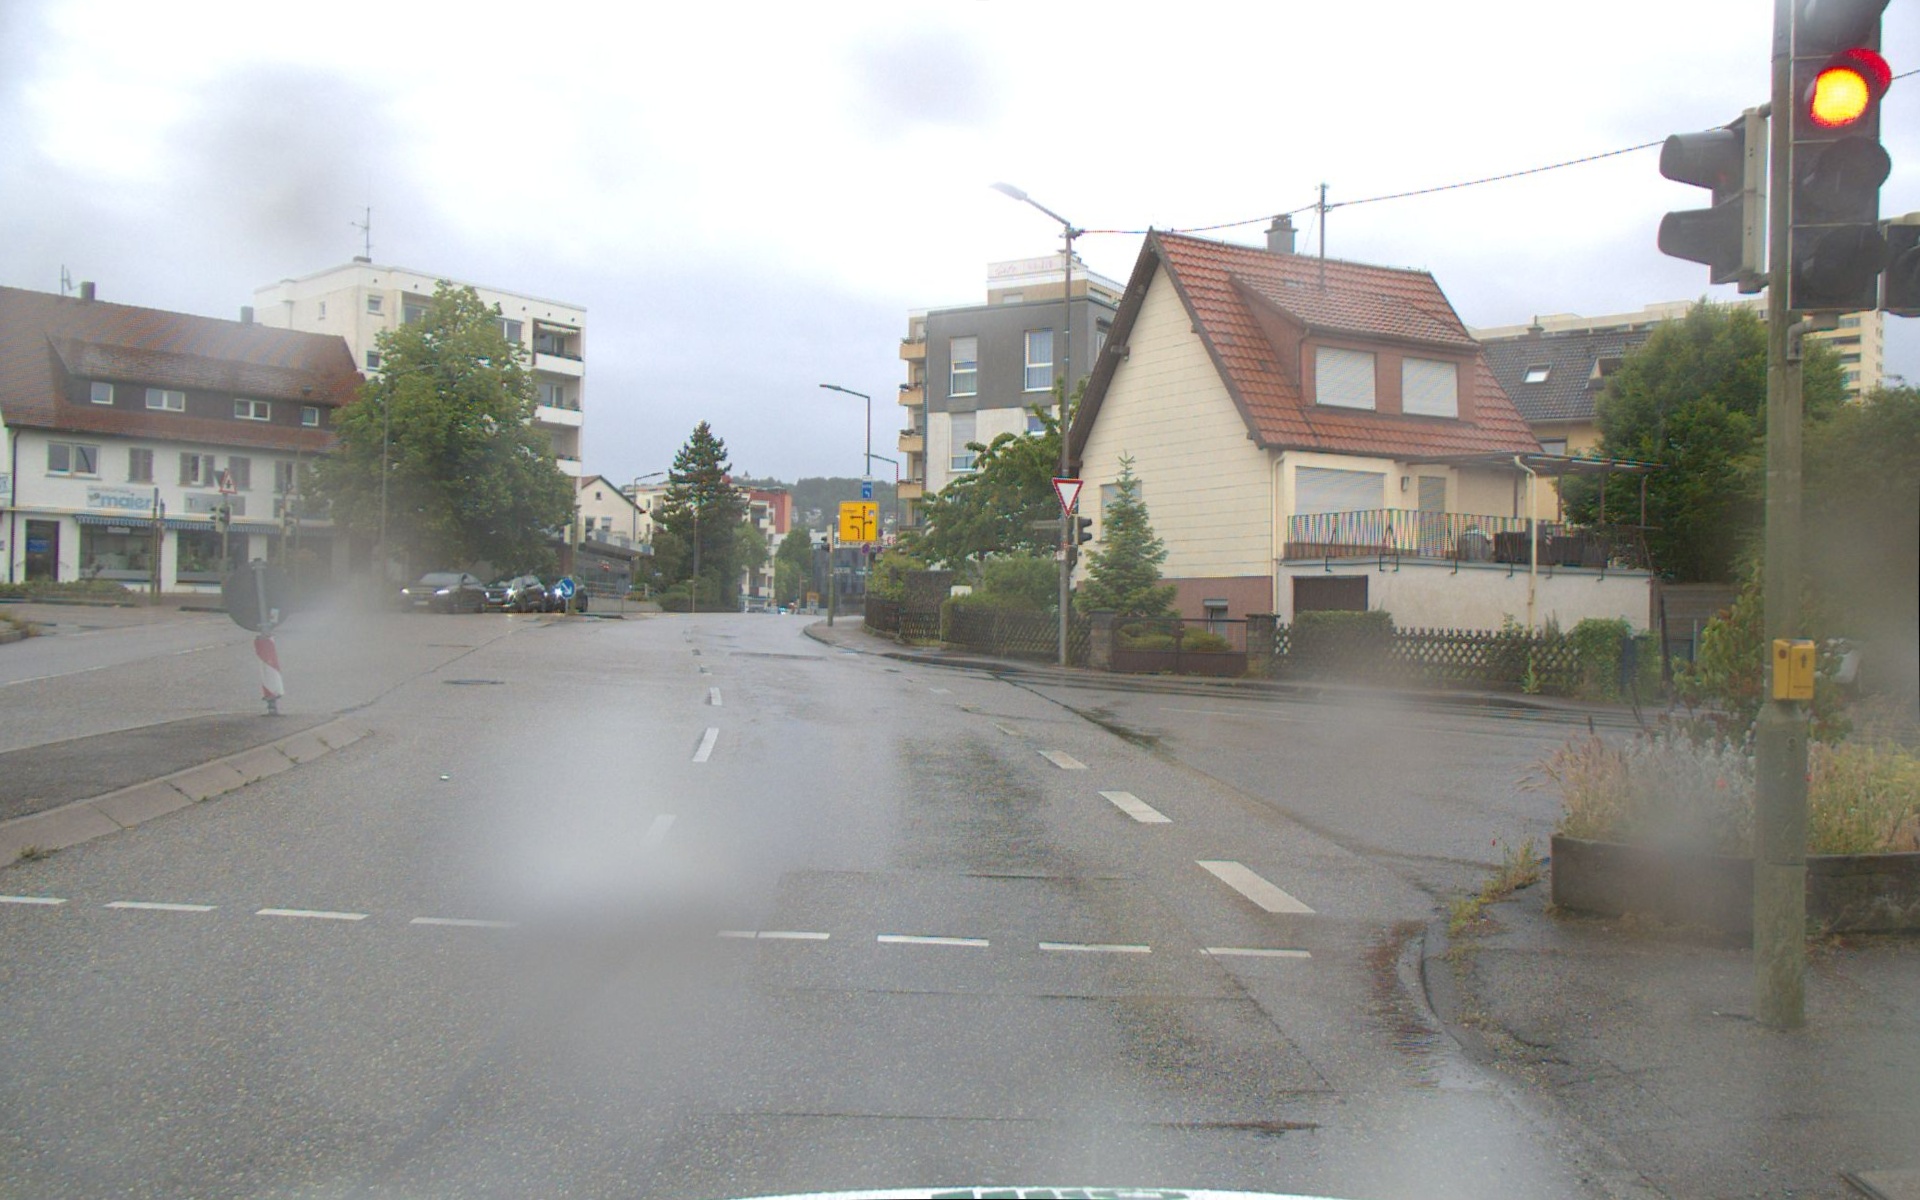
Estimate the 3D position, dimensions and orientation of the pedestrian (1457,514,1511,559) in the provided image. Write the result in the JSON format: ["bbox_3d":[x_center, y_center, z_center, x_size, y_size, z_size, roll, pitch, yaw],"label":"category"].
[{"bbox_3d":[11.146,-1.340,35.178,0.902,0.898,0.632,1,-2,-20],"label":"pedestrian"}]

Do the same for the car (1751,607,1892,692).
[{"bbox_3d":[15.615,0.859,29.877,1.780,1.386,3.986,1,0,35],"label":"car"}]

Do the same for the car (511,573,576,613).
[{"bbox_3d":[-17.845,-0.291,70.992,1.841,1.625,4.182,1,0,-2],"label":"car"}]

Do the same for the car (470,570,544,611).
[{"bbox_3d":[-17.892,-0.372,65.491,1.927,1.538,3.998,1,0,-2],"label":"car"}]

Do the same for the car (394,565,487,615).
[{"bbox_3d":[-18.156,-0.331,58.019,1.953,1.653,4.537,1,0,-2],"label":"car"}]
